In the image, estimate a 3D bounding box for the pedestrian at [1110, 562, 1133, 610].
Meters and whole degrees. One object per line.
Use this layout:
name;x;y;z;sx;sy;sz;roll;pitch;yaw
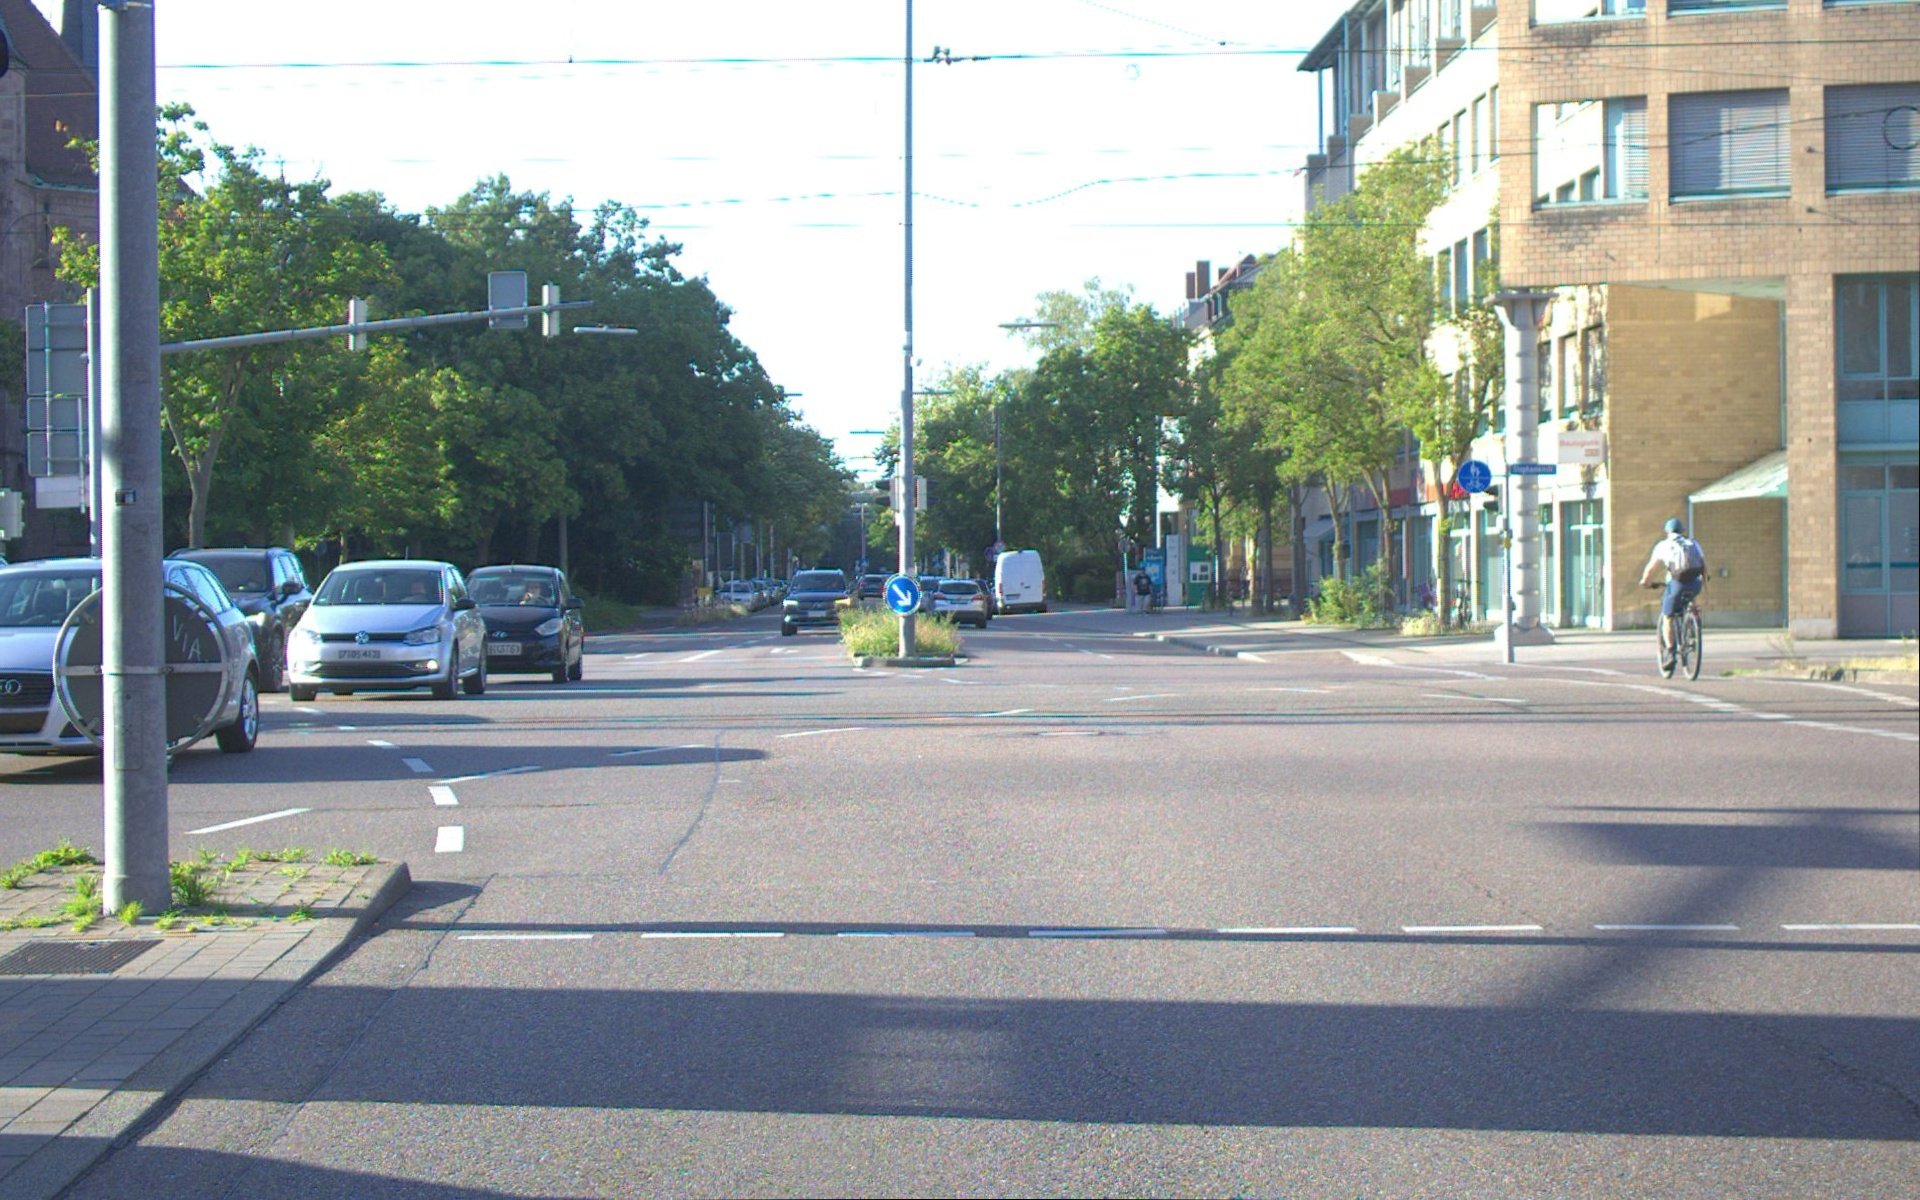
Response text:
pedestrian;6.160;-0.529;131.039;0.847;1.797;0.776;0;1;-1

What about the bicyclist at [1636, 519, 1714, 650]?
bicyclist;7.599;-0.172;36.572;0.592;1.364;0.930;1;1;0

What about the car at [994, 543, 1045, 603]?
car;2.485;-1.129;144.394;1.993;2.432;4.000;1;0;0

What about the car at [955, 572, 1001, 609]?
car;0.640;-0.346;124.161;1.594;1.263;3.266;0;1;0

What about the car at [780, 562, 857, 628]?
car;-3.826;-0.127;93.753;1.993;1.718;5.031;-1;0;-1

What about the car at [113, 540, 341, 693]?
car;-8.973;0.147;42.454;1.816;1.705;4.786;-2;1;-1

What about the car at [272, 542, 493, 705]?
car;-5.998;0.201;36.069;1.675;1.539;3.806;-2;1;-1

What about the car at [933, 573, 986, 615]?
car;-0.033;-0.194;106.259;1.594;1.263;3.266;0;1;0

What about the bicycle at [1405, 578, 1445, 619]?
bicycle;11.446;-0.039;84.644;0.646;0.991;2.081;0;0;-1

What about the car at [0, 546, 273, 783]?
car;-5.953;0.384;23.469;1.708;1.420;4.103;-2;1;-1

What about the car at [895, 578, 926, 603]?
car;-2.657;-0.511;184.895;1.594;1.263;3.266;0;1;0

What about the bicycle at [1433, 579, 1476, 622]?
bicycle;11.538;0.004;80.226;0.646;0.991;2.081;0;0;-1

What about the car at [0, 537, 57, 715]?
car;-9.215;0.254;30.062;1.675;1.539;3.638;-2;1;-1

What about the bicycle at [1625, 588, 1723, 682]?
bicycle;7.603;0.364;36.681;0.592;0.940;1.978;1;1;-1

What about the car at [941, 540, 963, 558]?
car;-0.619;-3.780;255.027;1.594;1.263;3.266;0;1;0

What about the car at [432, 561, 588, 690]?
car;-5.859;0.307;45.075;1.578;1.539;3.477;-2;1;-1
